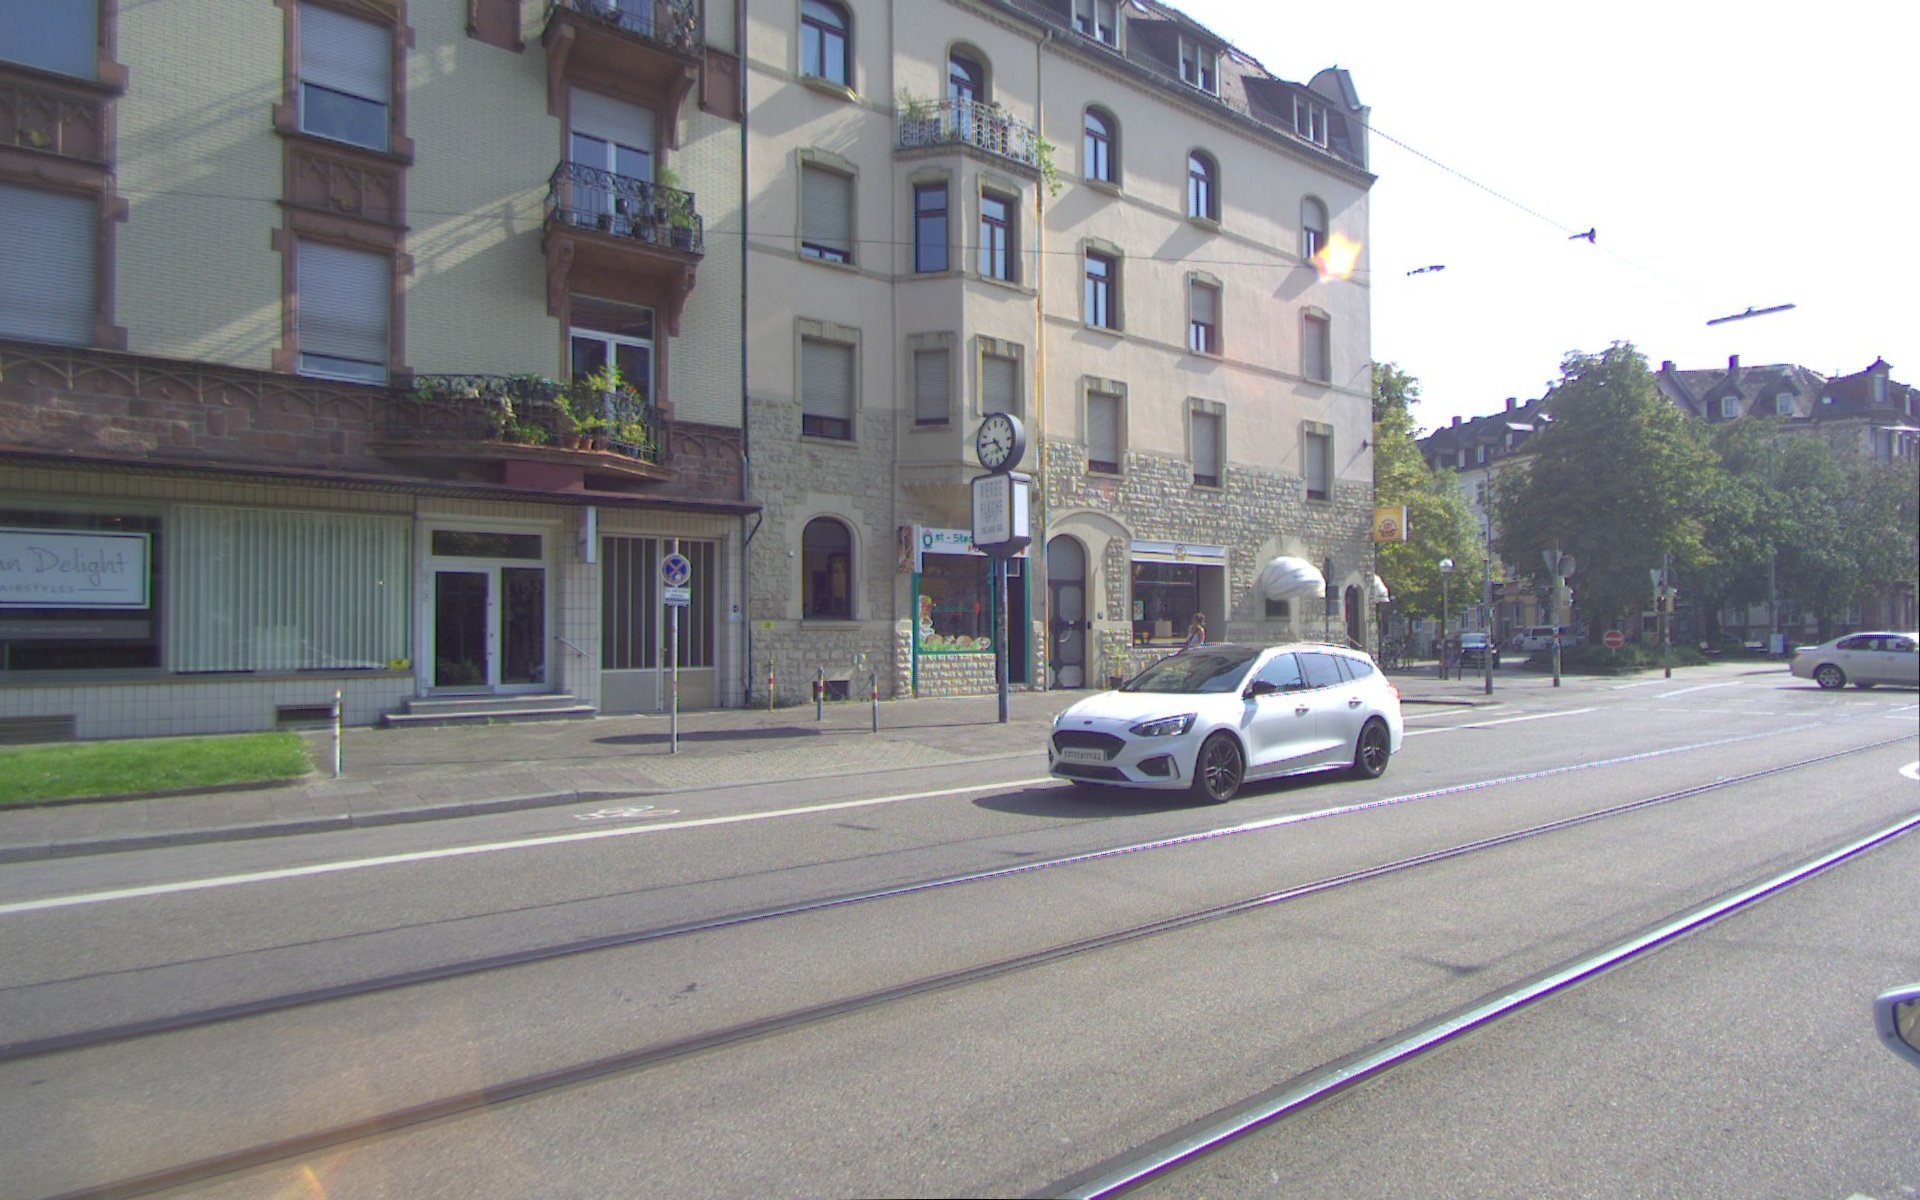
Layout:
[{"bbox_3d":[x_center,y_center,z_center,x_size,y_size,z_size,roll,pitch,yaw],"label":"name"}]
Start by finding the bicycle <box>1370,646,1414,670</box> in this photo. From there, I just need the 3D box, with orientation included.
[{"bbox_3d":[17.190,2.291,39.995,1.578,0.932,0.479,1,-2,-5],"label":"bicycle"}]

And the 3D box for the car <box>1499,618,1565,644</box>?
[{"bbox_3d":[41.248,2.237,72.563,1.966,1.852,3.991,0,-2,-13],"label":"car"}]

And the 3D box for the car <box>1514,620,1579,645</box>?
[{"bbox_3d":[43.720,2.432,75.010,1.966,1.852,3.991,0,-2,-13],"label":"car"}]

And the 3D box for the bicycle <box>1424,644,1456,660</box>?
[{"bbox_3d":[29.099,3.147,60.946,0.597,0.990,1.758,0,-2,-27],"label":"bicycle"}]

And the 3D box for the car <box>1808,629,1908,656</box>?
[{"bbox_3d":[54.477,2.560,61.045,4.264,1.590,1.994,-2,-2,34],"label":"car"}]

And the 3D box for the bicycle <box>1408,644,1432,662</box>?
[{"bbox_3d":[26.796,3.080,58.490,1.753,0.990,0.421,1,-2,-36],"label":"bicycle"}]

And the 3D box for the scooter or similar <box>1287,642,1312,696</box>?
[{"bbox_3d":[7.894,1.592,23.368,0.359,1.213,1.035,0,-2,9],"label":"scooter or similar"}]

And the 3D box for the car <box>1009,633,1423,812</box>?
[{"bbox_3d":[2.830,1.137,10.571,4.506,1.473,1.858,1,-5,-39],"label":"car"}]

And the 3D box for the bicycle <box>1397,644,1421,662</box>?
[{"bbox_3d":[26.118,3.073,58.455,1.753,0.990,0.421,1,-2,-36],"label":"bicycle"}]

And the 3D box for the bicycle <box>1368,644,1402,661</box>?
[{"bbox_3d":[24.931,3.077,58.953,1.740,0.990,0.518,-2,-2,34],"label":"bicycle"}]

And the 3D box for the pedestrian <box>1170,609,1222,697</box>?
[{"bbox_3d":[5.201,1.156,22.164,0.823,1.884,0.768,1,-2,-37],"label":"pedestrian"}]

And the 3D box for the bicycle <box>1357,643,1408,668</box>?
[{"bbox_3d":[17.423,2.297,41.458,1.841,1.017,0.570,0,-2,1],"label":"bicycle"}]

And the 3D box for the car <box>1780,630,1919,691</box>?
[{"bbox_3d":[24.090,1.511,25.499,1.843,1.485,4.761,1,-2,-23],"label":"car"}]

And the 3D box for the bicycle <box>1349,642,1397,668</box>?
[{"bbox_3d":[17.653,2.340,42.937,1.841,1.047,0.570,0,-2,16],"label":"bicycle"}]

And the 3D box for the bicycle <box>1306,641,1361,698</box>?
[{"bbox_3d":[8.647,1.589,23.204,0.448,1.242,1.845,-2,-3,45],"label":"bicycle"}]

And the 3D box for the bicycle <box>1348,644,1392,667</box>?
[{"bbox_3d":[18.078,2.437,44.313,1.768,0.997,0.570,0,-2,15],"label":"bicycle"}]

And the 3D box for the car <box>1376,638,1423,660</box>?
[{"bbox_3d":[39.984,4.439,91.522,1.966,1.852,3.991,0,-2,-13],"label":"car"}]

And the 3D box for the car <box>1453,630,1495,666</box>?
[{"bbox_3d":[23.693,2.173,46.399,1.582,1.535,4.224,-2,-2,26],"label":"car"}]
